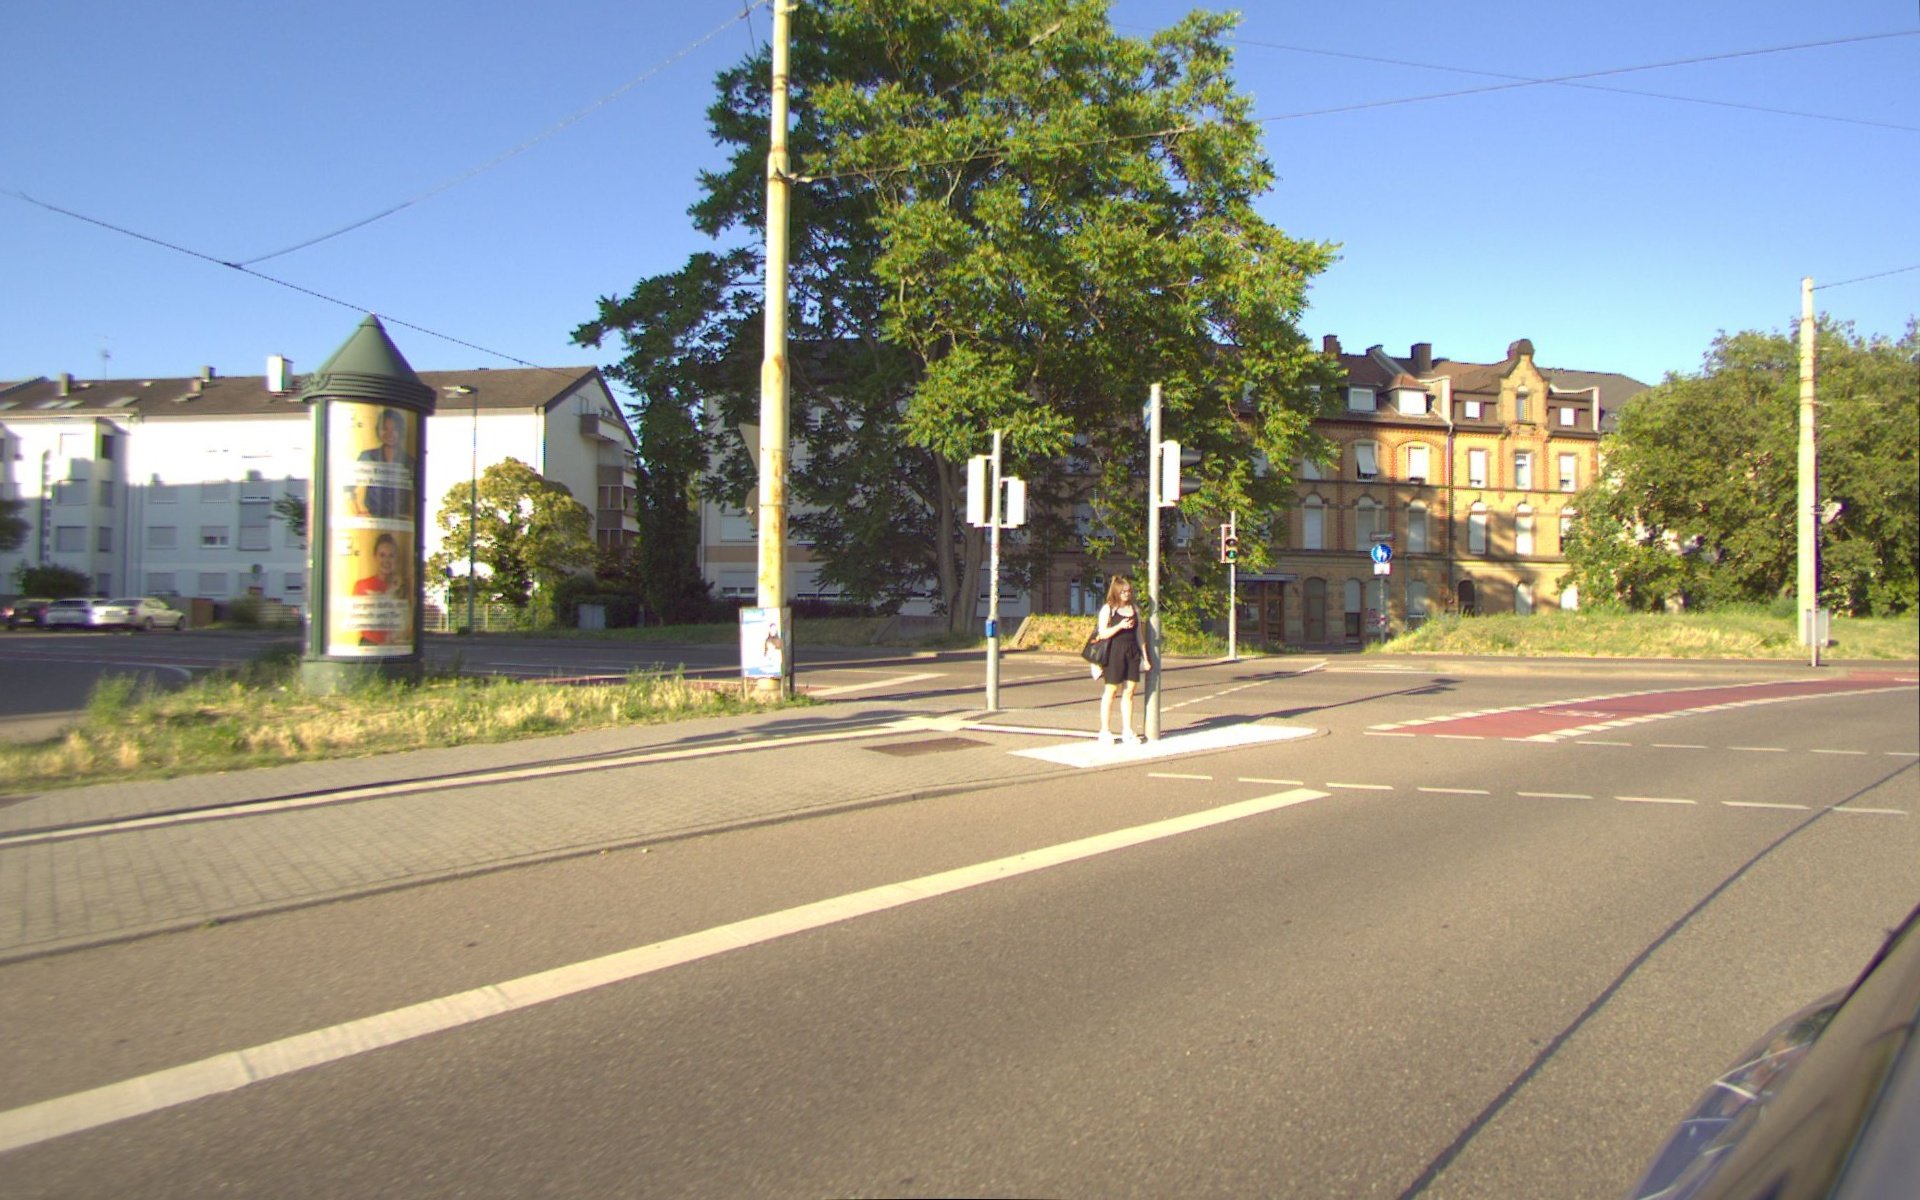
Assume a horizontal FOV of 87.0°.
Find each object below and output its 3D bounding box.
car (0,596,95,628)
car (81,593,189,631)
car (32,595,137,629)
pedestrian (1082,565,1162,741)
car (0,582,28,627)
[{"bbox_3d":[-41.217,0.517,45.573,1.863,1.401,4.008,0,0,-14],"label":"car"},{"bbox_3d":[-35.542,0.486,43.743,1.743,1.583,4.233,0,0,-9],"label":"car"},{"bbox_3d":[-38.128,0.497,44.185,1.863,1.444,4.008,0,0,-14],"label":"car"},{"bbox_3d":[1.557,0.493,9.746,0.617,1.633,0.438,0,-1,-22],"label":"pedestrian"},{"bbox_3d":[-44.523,0.207,45.541,1.958,2.039,4.234,0,0,-14],"label":"car"}]
